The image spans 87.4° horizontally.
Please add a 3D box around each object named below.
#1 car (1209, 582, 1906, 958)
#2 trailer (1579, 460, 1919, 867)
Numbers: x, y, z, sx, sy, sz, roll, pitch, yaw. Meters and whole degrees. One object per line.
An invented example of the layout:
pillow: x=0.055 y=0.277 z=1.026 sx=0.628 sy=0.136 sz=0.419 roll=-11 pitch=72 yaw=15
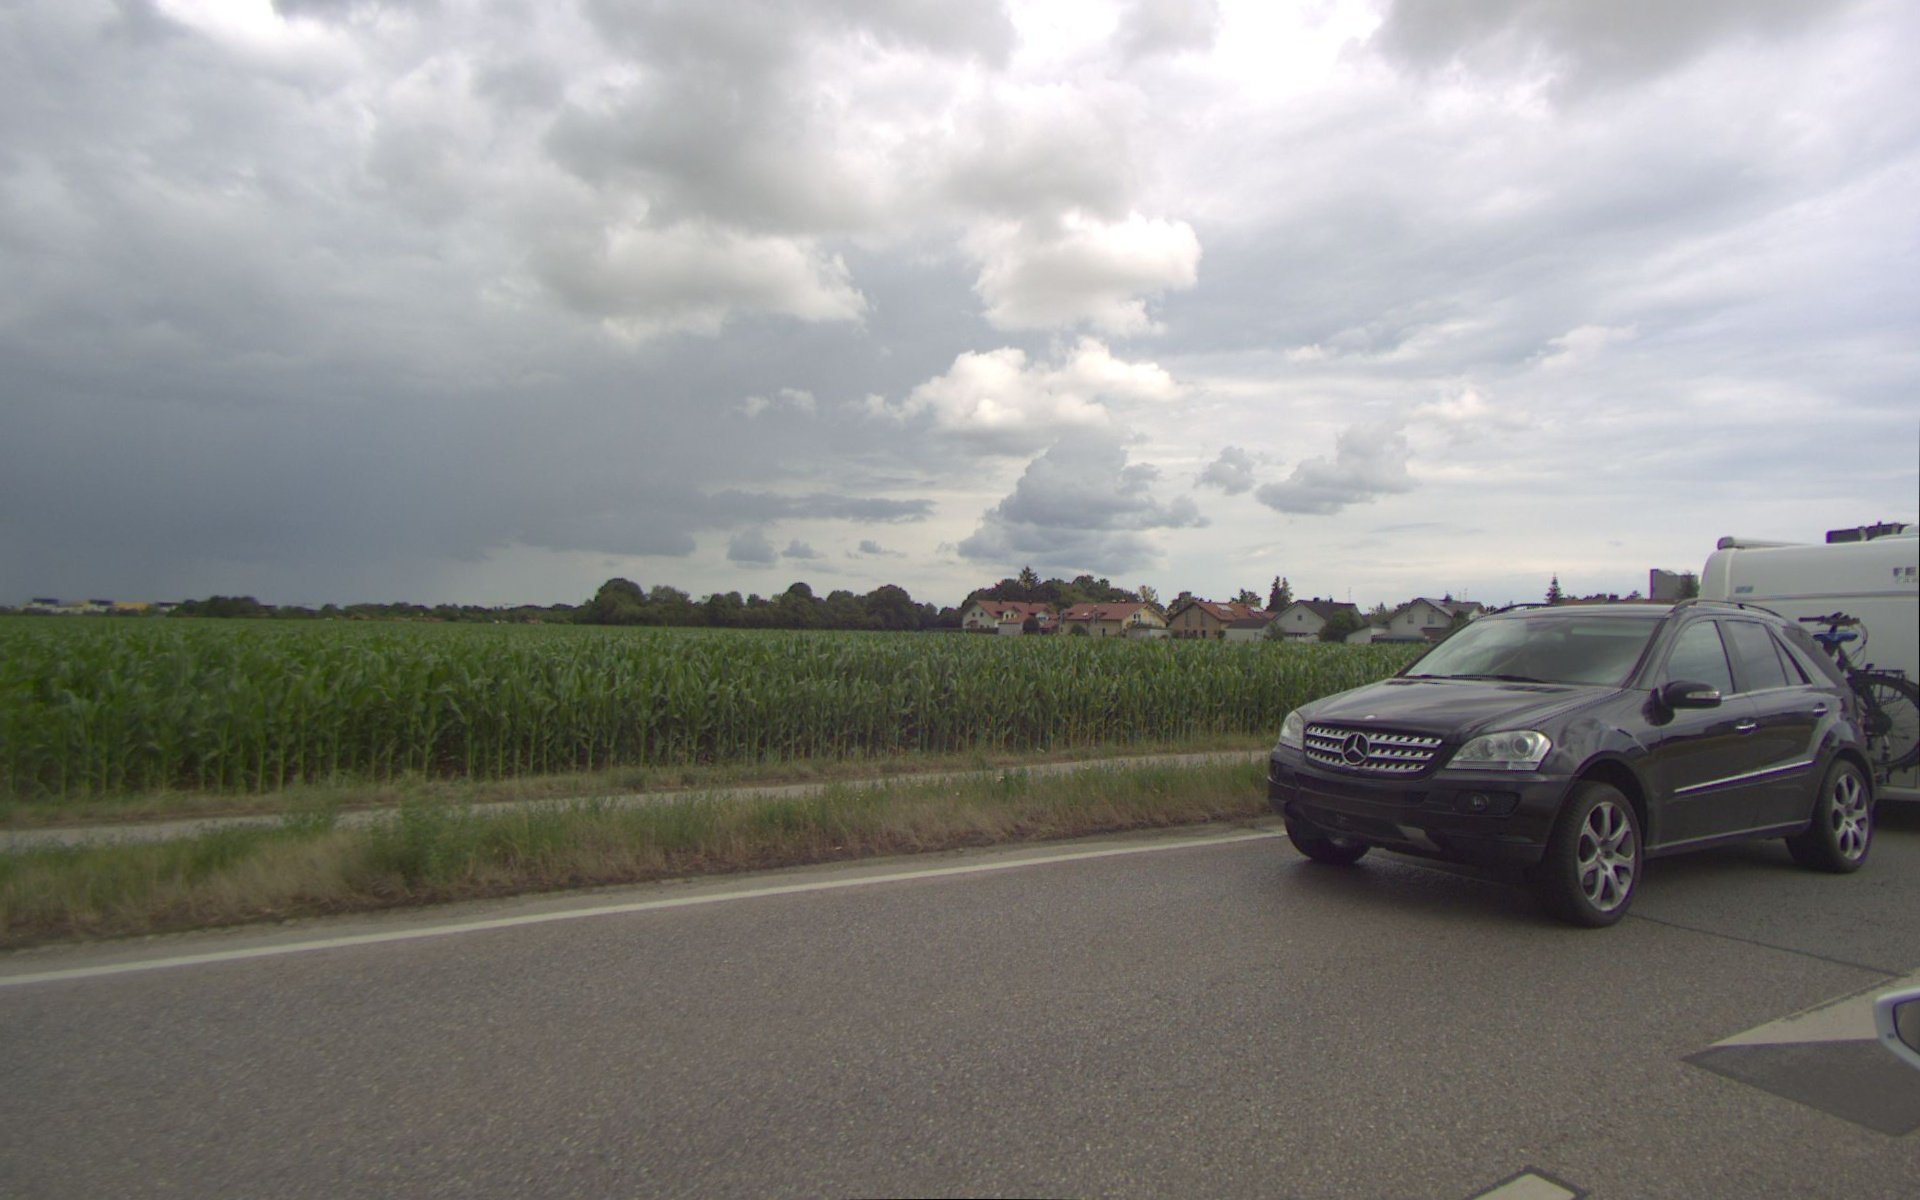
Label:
car: x=4.060 y=0.868 z=6.644 sx=4.620 sy=1.721 sz=1.984 roll=2 pitch=-2 yaw=-30
trailer: x=9.357 y=0.572 z=9.732 sx=7.749 sy=2.765 sz=2.314 roll=2 pitch=-2 yaw=-30
